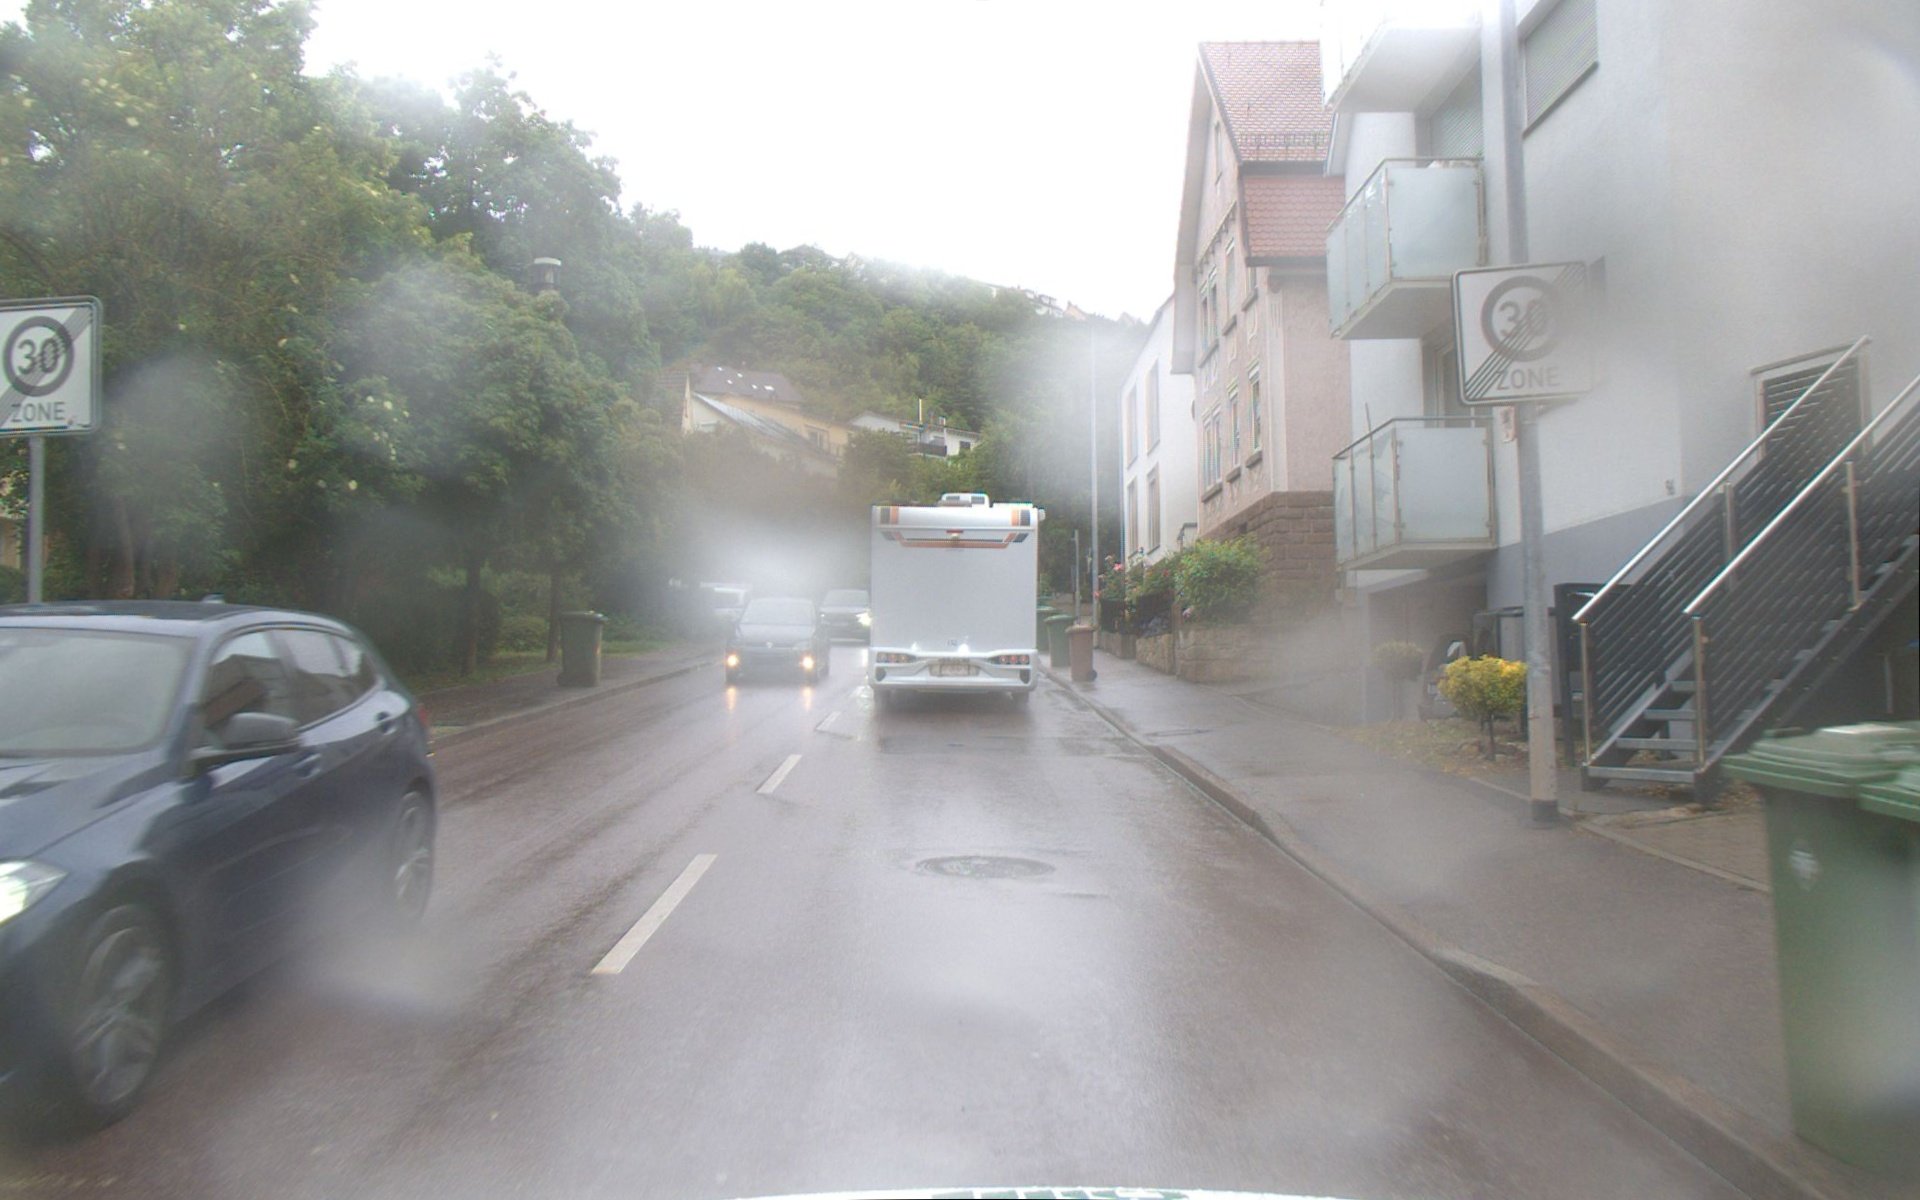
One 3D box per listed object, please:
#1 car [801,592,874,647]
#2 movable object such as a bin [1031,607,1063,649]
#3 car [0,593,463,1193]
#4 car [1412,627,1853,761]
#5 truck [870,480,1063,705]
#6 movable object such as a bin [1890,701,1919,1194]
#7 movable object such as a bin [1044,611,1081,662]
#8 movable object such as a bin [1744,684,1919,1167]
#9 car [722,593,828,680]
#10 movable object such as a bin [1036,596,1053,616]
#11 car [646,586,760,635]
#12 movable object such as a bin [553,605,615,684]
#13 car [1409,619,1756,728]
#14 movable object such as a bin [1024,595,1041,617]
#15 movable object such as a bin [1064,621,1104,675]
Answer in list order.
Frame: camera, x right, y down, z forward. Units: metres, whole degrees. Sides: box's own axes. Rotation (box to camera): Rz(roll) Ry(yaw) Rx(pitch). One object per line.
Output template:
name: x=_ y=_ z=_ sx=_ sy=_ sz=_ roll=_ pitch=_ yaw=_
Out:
car: x=-3.797 y=0.593 z=52.087 sx=1.878 sy=1.652 sz=4.364 roll=0 pitch=0 yaw=1
movable object such as a bin: x=2.281 y=0.740 z=43.535 sx=0.818 sy=1.079 sz=0.750 roll=0 pitch=0 yaw=0
car: x=-3.175 y=0.706 z=5.848 sx=1.684 sy=1.455 sz=3.844 roll=0 pitch=0 yaw=0
car: x=7.686 y=1.085 z=19.192 sx=4.378 sy=1.469 sz=1.754 roll=0 pitch=-3 yaw=-1
truck: x=-0.036 y=-0.102 z=24.235 sx=2.465 sy=2.867 sz=6.198 roll=0 pitch=0 yaw=-2
movable object such as a bin: x=2.647 y=0.804 z=3.569 sx=0.895 sy=1.122 sz=0.702 roll=0 pitch=0 yaw=1
movable object such as a bin: x=2.232 y=0.798 z=36.076 sx=0.780 sy=1.089 sz=0.761 roll=0 pitch=0 yaw=1
movable object such as a bin: x=2.657 y=0.802 z=4.317 sx=0.895 sy=1.122 sz=0.702 roll=0 pitch=0 yaw=1
car: x=-3.273 y=0.613 z=29.850 sx=1.585 sy=1.466 sz=3.736 roll=0 pitch=0 yaw=-2
movable object such as a bin: x=4.558 y=0.316 z=89.186 sx=0.696 sy=1.107 sz=0.555 roll=0 pitch=0 yaw=-30
car: x=-9.835 y=0.394 z=63.536 sx=4.021 sy=1.831 sz=2.000 roll=0 pitch=0 yaw=1
movable object such as a bin: x=-5.505 y=0.641 z=24.257 sx=0.706 sy=1.119 sz=0.757 roll=1 pitch=0 yaw=-1
car: x=8.011 y=0.934 z=21.497 sx=3.892 sy=1.327 sz=1.681 roll=0 pitch=0 yaw=-2
movable object such as a bin: x=3.907 y=0.323 z=88.870 sx=0.659 sy=1.159 sz=0.619 roll=0 pitch=0 yaw=-30
movable object such as a bin: x=2.144 y=0.831 z=28.636 sx=0.617 sy=0.913 sz=0.712 roll=0 pitch=0 yaw=-1
